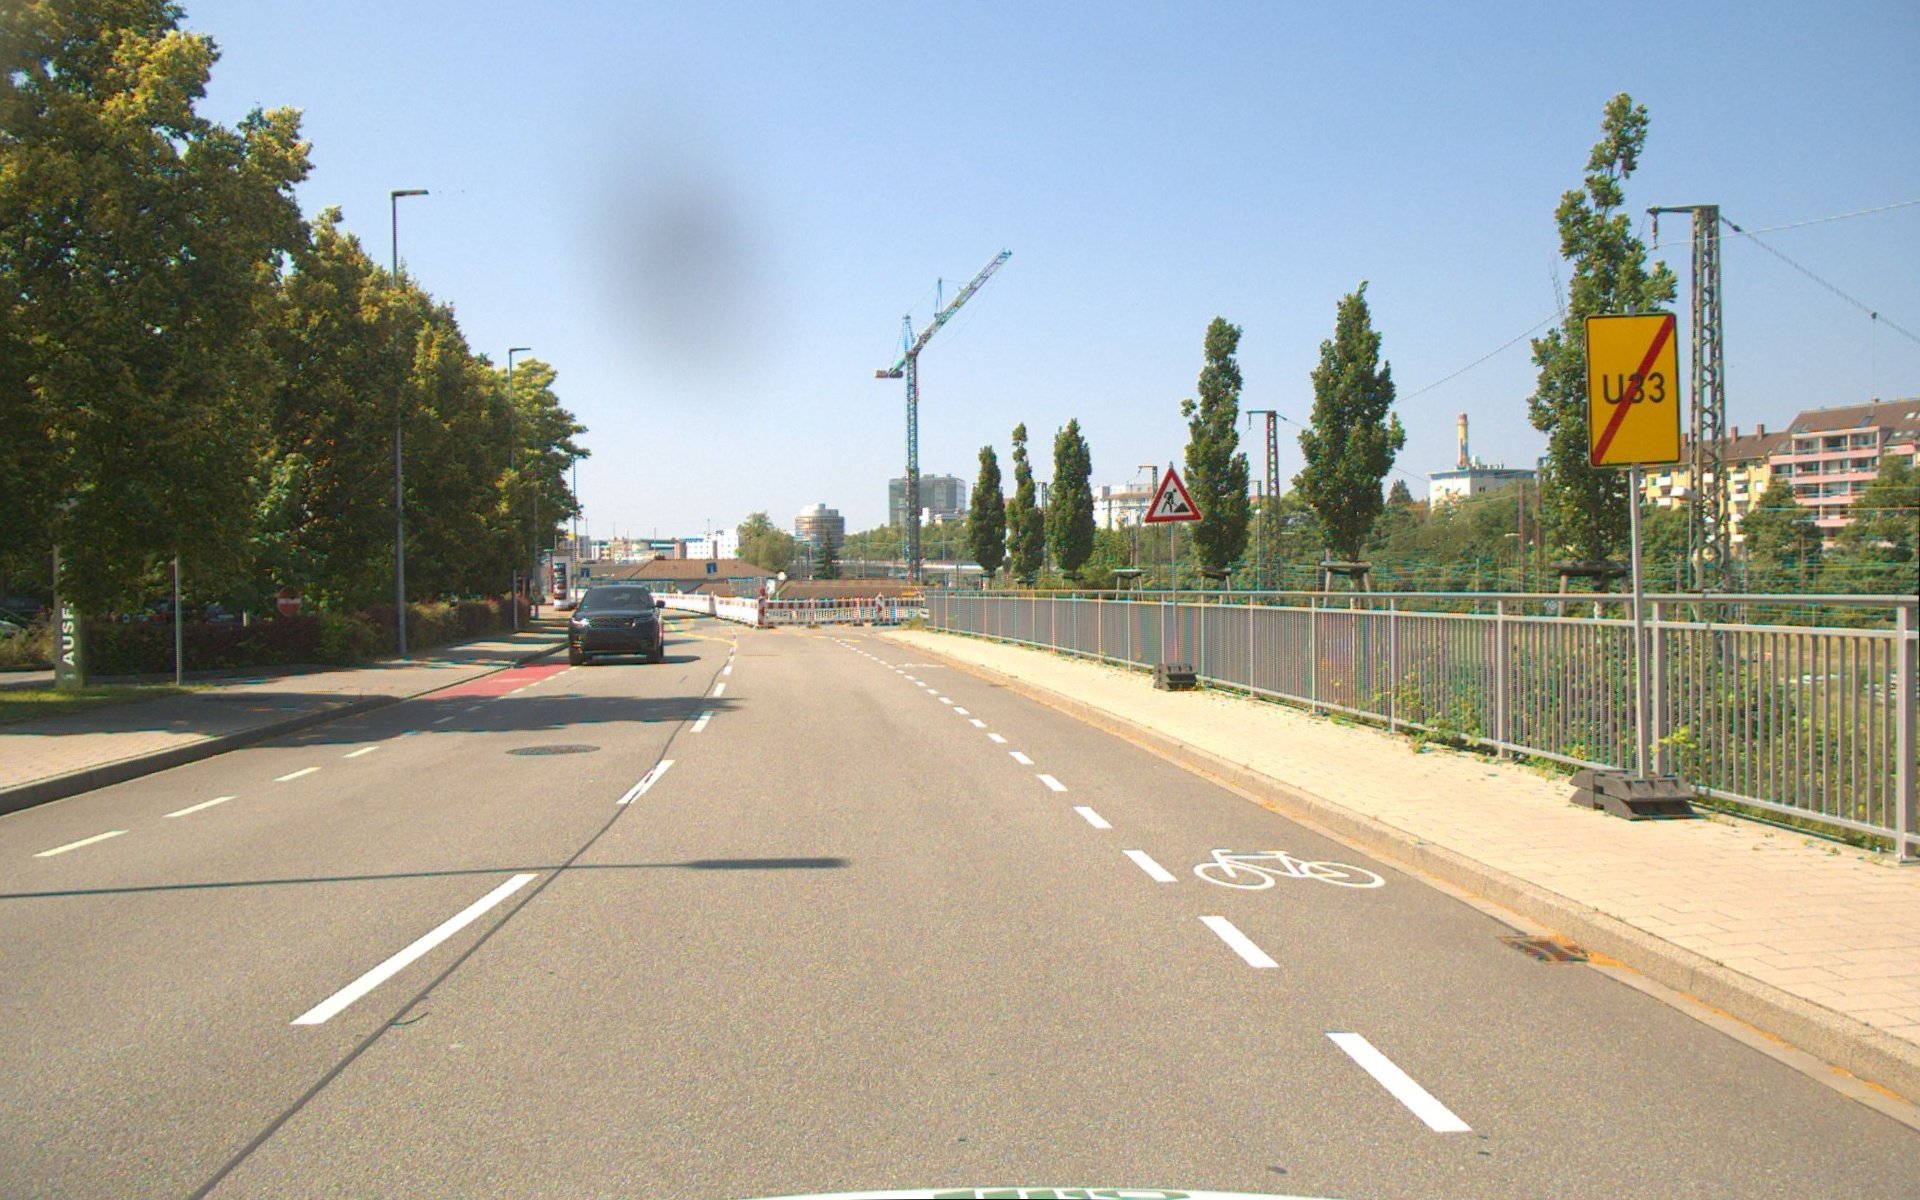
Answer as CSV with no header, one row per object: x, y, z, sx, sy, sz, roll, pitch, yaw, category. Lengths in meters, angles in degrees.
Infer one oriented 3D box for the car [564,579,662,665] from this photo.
-7.708,0.433,36.483,1.917,1.725,4.596,-1,1,-14,car

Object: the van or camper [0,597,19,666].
-26.959,0.876,42.926,4.217,1.770,1.984,-2,1,-26,van or camper

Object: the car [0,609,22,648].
-39.244,1.158,64.739,4.217,1.464,1.984,-2,1,-26,car
